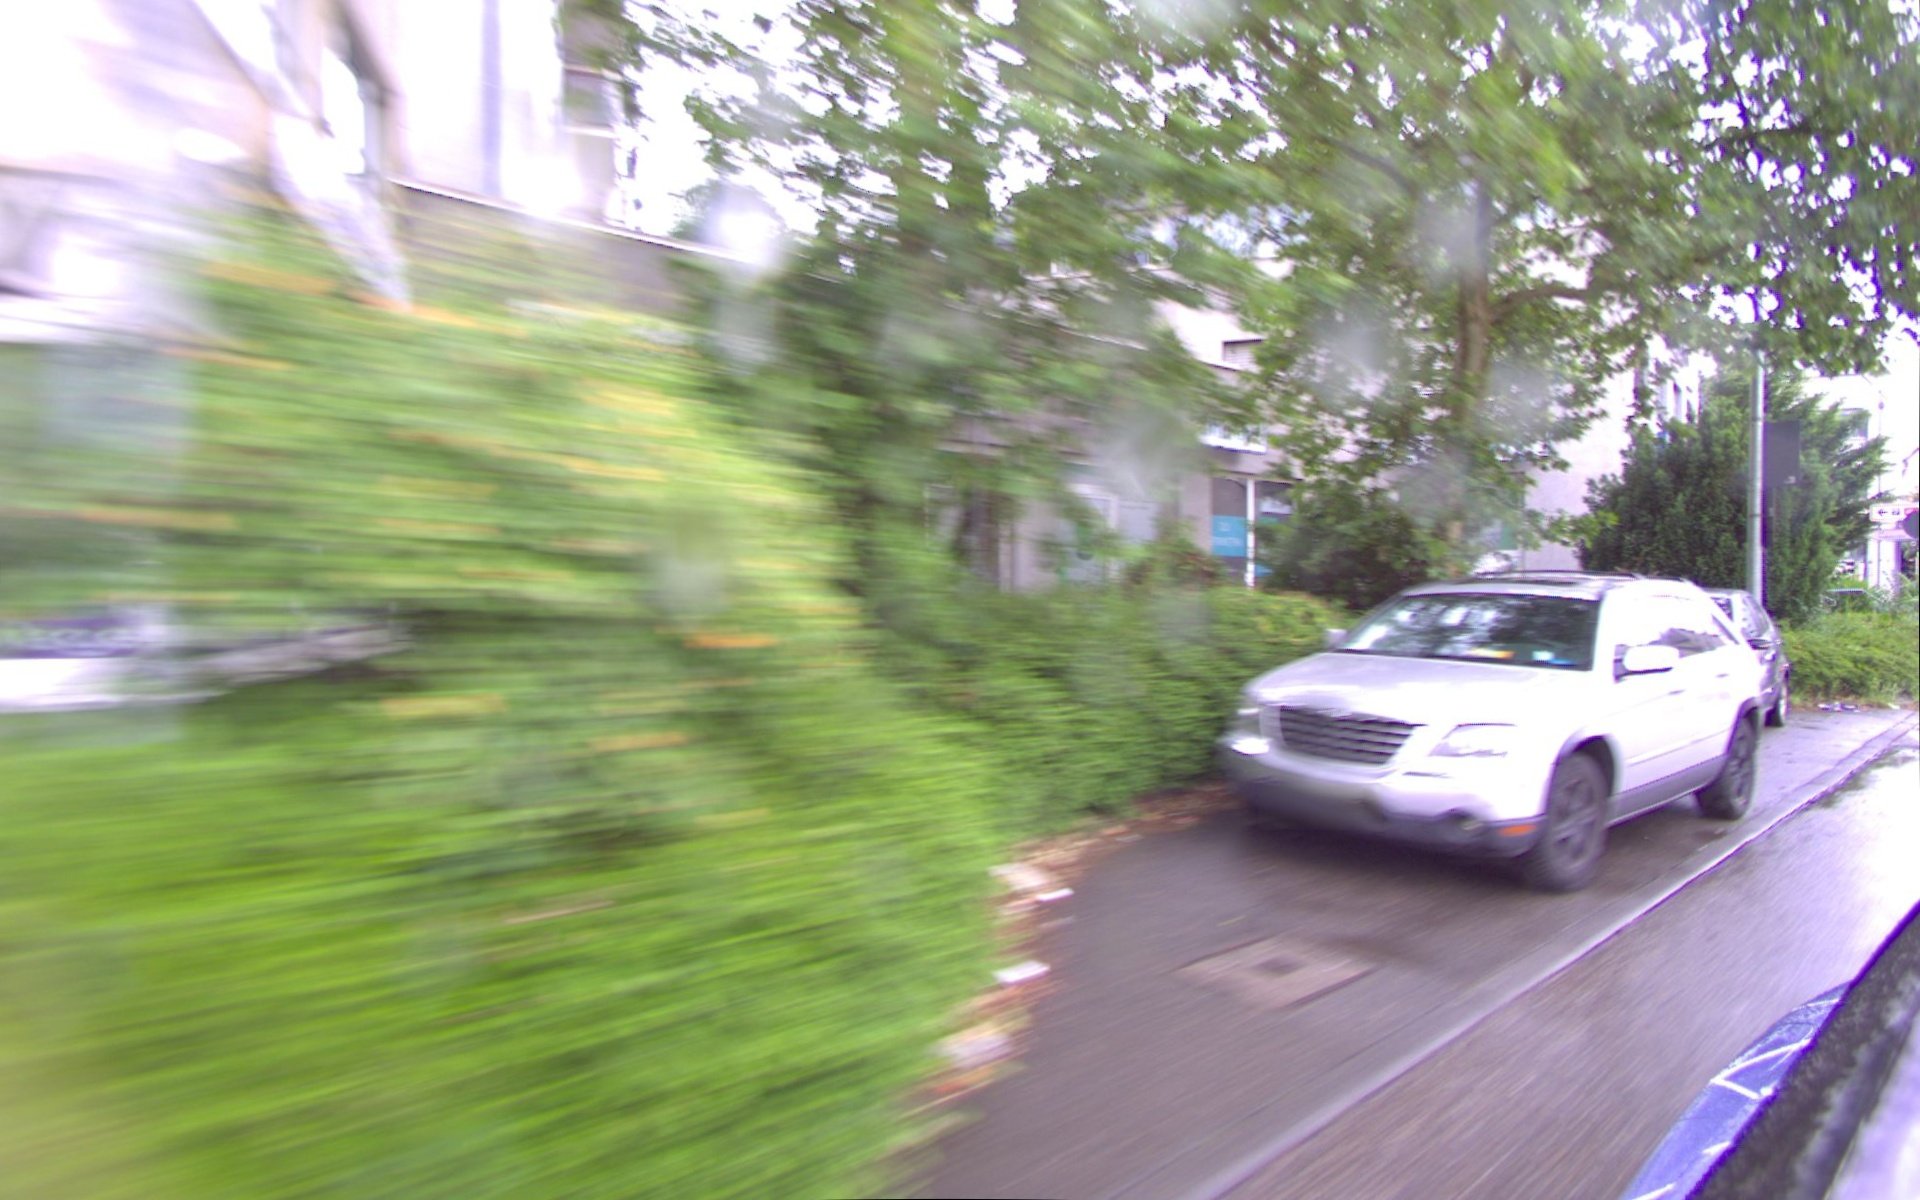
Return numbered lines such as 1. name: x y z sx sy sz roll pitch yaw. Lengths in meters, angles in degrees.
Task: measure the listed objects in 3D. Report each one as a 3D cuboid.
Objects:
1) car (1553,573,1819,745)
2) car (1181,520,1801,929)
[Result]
1. car: 8.279 0.532 11.414 3.849 1.592 1.712 0 2 -43
2. car: 3.725 0.519 6.687 4.648 1.802 1.935 0 2 -39
